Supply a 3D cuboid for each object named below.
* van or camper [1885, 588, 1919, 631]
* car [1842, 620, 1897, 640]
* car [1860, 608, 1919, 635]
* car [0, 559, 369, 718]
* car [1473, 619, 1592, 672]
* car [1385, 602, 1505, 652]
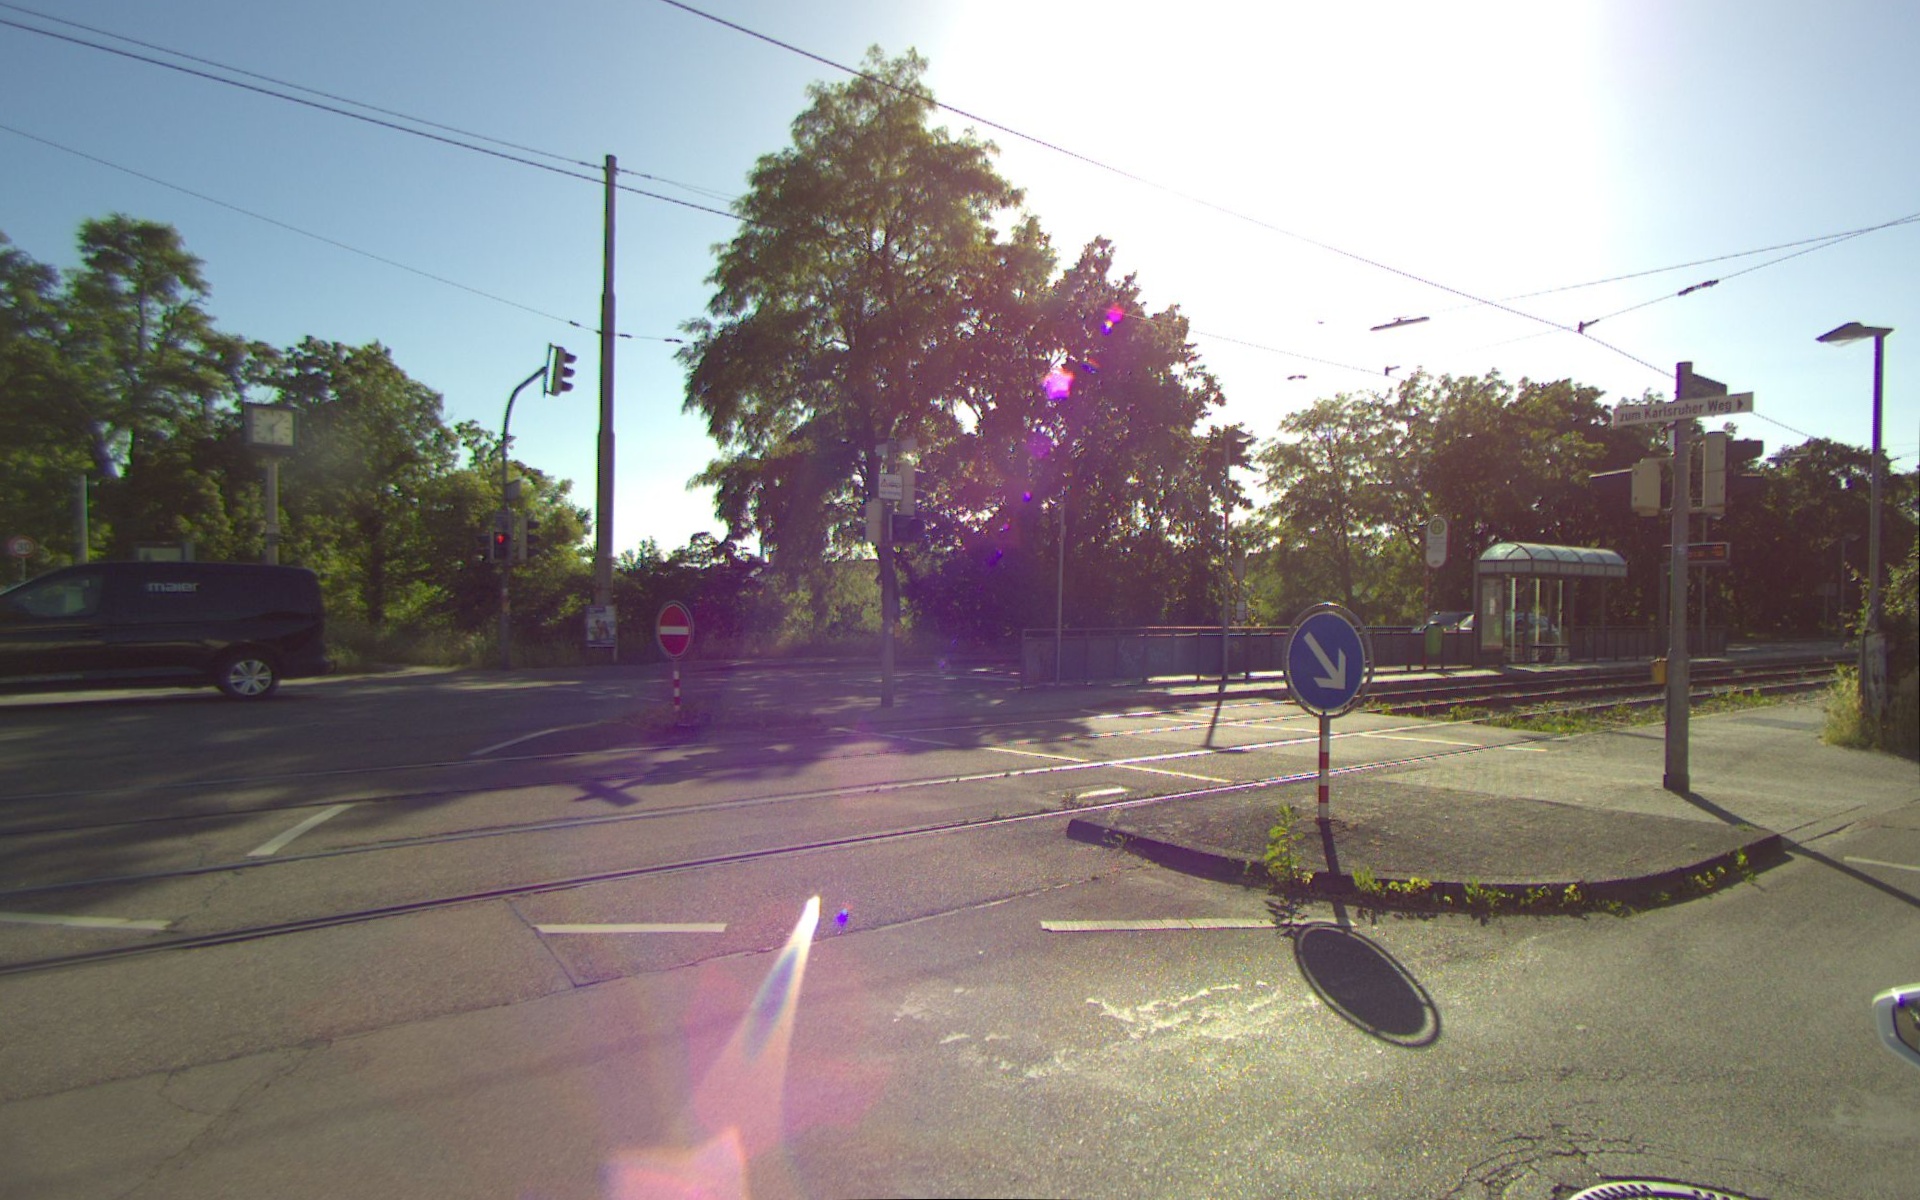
[{"bbox_3d":[73.068,0.725,76.463,6.721,3.147,2.572,0,0,-36],"label":"van or camper"},{"bbox_3d":[62.666,2.017,69.195,3.958,1.283,1.909,0,0,-34],"label":"car"},{"bbox_3d":[54.548,1.254,58.800,4.335,1.489,1.979,1,0,-37],"label":"car"},{"bbox_3d":[-10.473,0.447,12.714,4.984,1.790,1.979,1,0,-37],"label":"car"},{"bbox_3d":[17.947,1.369,31.445,3.961,1.486,1.792,1,0,-36],"label":"car"},{"bbox_3d":[16.423,0.879,33.973,3.958,1.588,1.909,0,0,-34],"label":"car"}]
